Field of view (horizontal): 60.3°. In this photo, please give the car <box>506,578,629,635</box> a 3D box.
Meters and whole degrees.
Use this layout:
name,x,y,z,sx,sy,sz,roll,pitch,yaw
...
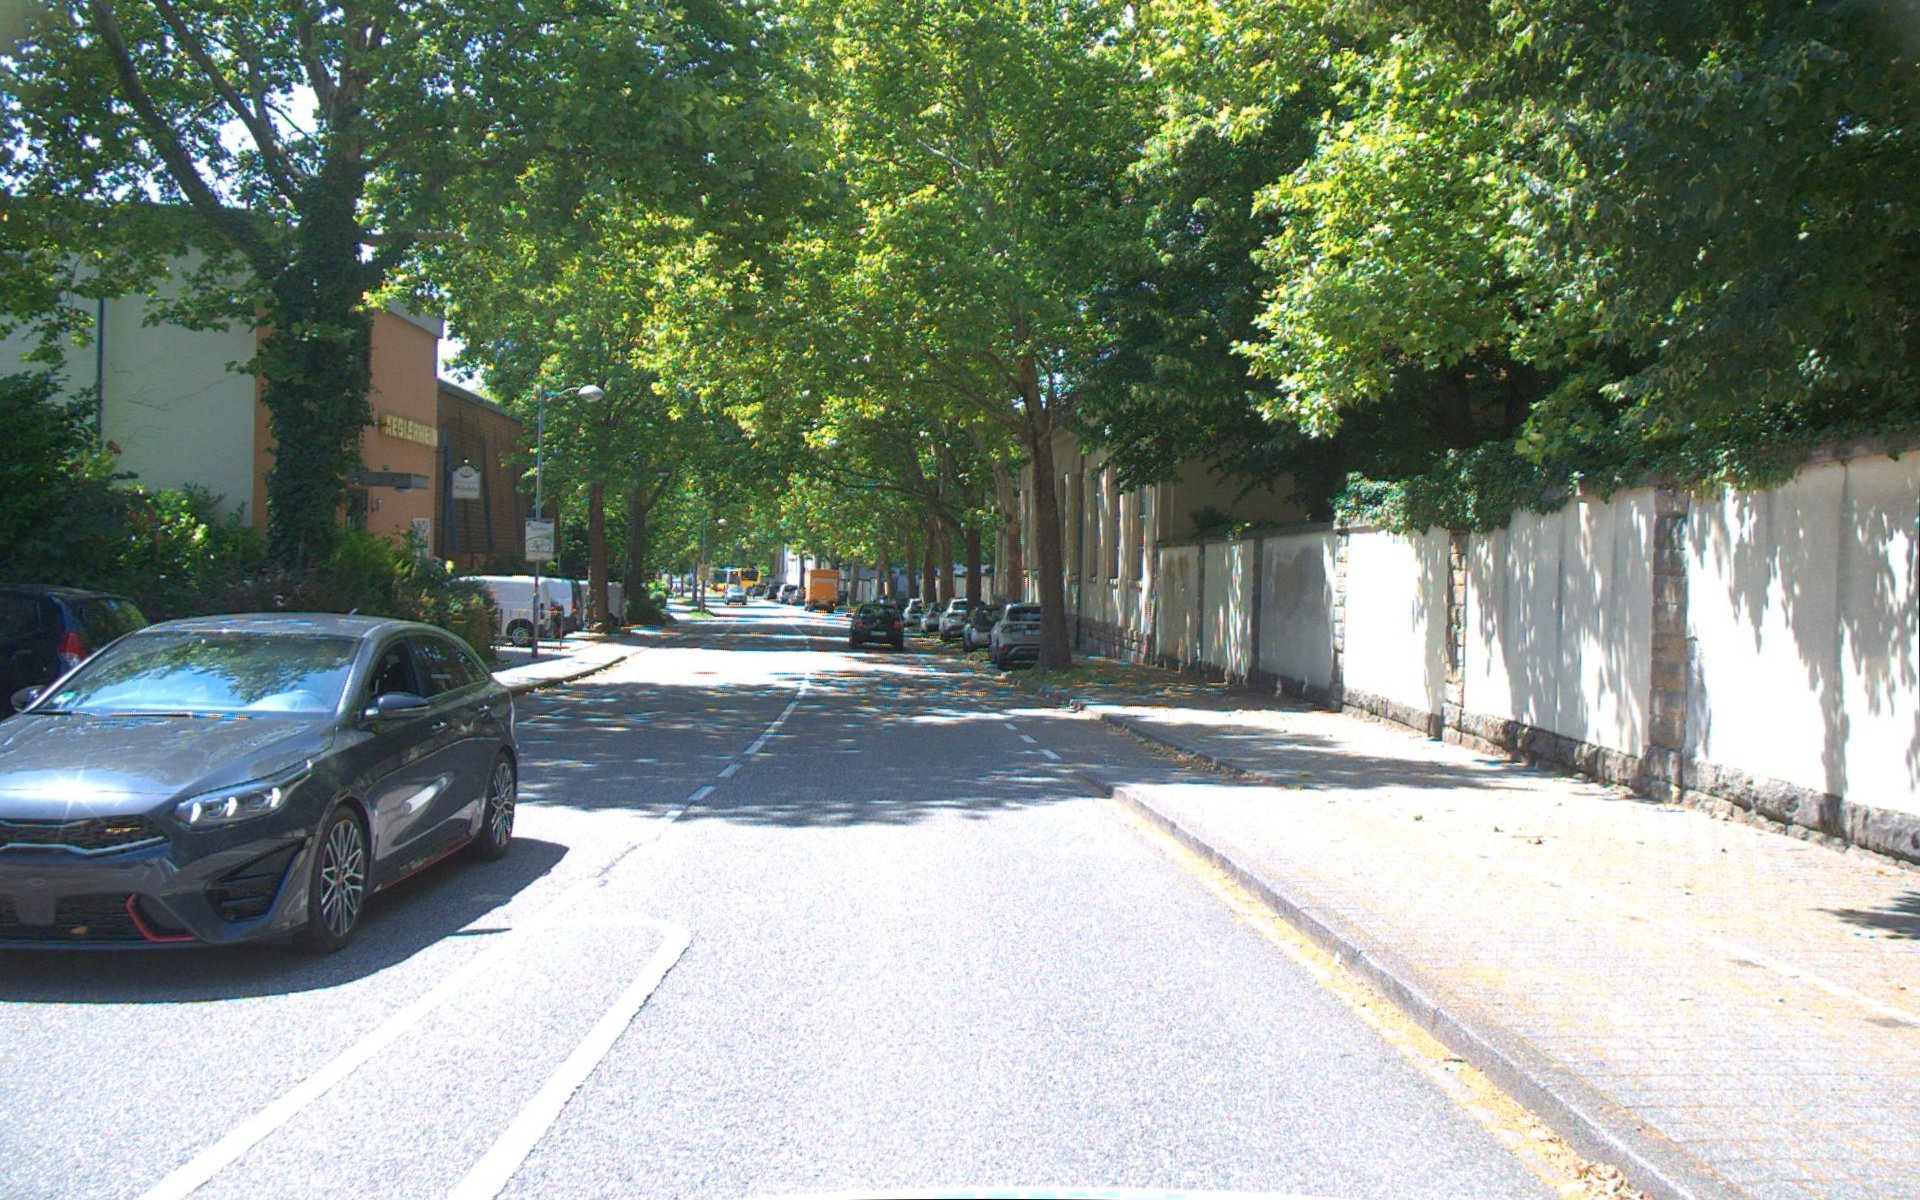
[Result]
name,x,y,z,sx,sy,sz,roll,pitch,yaw
car,-14.112,0.241,59.671,4.050,1.836,1.900,3,-1,-8

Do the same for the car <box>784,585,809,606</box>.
name,x,y,z,sx,sy,sz,roll,pitch,yaw
car,-14.637,-0.410,147.868,1.846,1.715,3.988,1,-1,-12

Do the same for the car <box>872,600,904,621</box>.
name,x,y,z,sx,sy,sz,roll,pitch,yaw
car,-4.903,0.697,111.791,1.734,1.398,3.722,0,0,-9

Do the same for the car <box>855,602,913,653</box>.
name,x,y,z,sx,sy,sz,roll,pitch,yaw
car,-2.476,0.845,53.367,1.677,1.472,4.054,1,1,-5

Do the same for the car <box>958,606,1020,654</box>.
name,x,y,z,sx,sy,sz,roll,pitch,yaw
car,0.890,0.923,52.893,1.589,1.465,4.429,0,0,-4

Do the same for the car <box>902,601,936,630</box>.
name,x,y,z,sx,sy,sz,roll,pitch,yaw
car,-2.256,0.810,89.517,1.547,1.491,3.870,0,0,-6

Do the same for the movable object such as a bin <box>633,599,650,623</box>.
name,x,y,z,sx,sy,sz,roll,pitch,yaw
movable object such as a bin,-14.997,0.522,77.920,0.720,1.097,0.700,1,0,-5

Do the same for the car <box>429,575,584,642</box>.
name,x,y,z,sx,sy,sz,roll,pitch,yaw
car,-14.101,0.272,51.620,4.340,1.836,1.900,3,-1,-8

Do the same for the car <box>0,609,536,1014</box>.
name,x,y,z,sx,sy,sz,roll,pitch,yaw
car,-3.494,0.782,8.207,1.733,1.451,4.391,1,0,-2

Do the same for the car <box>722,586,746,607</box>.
name,x,y,z,sx,sy,sz,roll,pitch,yaw
car,-19.558,-0.295,142.990,1.957,1.695,3.990,1,-1,-10

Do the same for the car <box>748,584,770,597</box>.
name,x,y,z,sx,sy,sz,roll,pitch,yaw
car,-21.467,-0.985,176.399,1.738,1.398,3.713,0,0,-17

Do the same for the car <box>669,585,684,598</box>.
name,x,y,z,sx,sy,sz,roll,pitch,yaw
car,-34.100,-1.015,199.016,1.680,1.473,4.046,1,0,-11

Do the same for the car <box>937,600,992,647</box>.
name,x,y,z,sx,sy,sz,roll,pitch,yaw
car,0.130,0.883,64.561,1.772,1.718,4.747,0,0,-4

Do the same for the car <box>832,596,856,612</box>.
name,x,y,z,sx,sy,sz,roll,pitch,yaw
car,-10.335,0.337,147.089,1.734,1.398,3.722,2,0,-9

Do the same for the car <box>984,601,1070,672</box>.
name,x,y,z,sx,sy,sz,roll,pitch,yaw
car,1.619,0.853,41.376,1.706,1.584,4.777,0,1,-3

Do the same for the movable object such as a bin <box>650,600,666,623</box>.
name,x,y,z,sx,sy,sz,roll,pitch,yaw
movable object such as a bin,-14.257,0.559,78.019,0.611,1.066,0.620,1,0,-1

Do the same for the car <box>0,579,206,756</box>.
name,x,y,z,sx,sy,sz,roll,pitch,yaw
car,-9.301,0.584,15.873,3.310,1.574,1.725,1,0,6

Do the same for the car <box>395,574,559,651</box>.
name,x,y,z,sx,sy,sz,roll,pitch,yaw
car,-12.957,0.330,44.573,3.912,1.824,1.865,3,-1,-8

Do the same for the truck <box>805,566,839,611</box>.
name,x,y,z,sx,sy,sz,roll,pitch,yaw
truck,-10.478,-0.818,125.028,2.325,3.189,5.760,1,-1,-7

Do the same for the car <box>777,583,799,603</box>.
name,x,y,z,sx,sy,sz,roll,pitch,yaw
car,-16.160,-0.623,155.166,1.845,1.715,3.991,1,-1,-9

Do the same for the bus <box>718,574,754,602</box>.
name,x,y,z,sx,sy,sz,roll,pitch,yaw
bus,-26.846,-1.436,197.813,2.621,3.206,11.145,1,0,-17

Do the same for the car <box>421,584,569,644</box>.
name,x,y,z,sx,sy,sz,roll,pitch,yaw
car,-13.737,0.418,49.033,3.912,1.542,1.865,3,-1,-8

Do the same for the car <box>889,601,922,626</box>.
name,x,y,z,sx,sy,sz,roll,pitch,yaw
car,-3.374,0.798,102.073,1.732,1.491,3.870,0,0,-6

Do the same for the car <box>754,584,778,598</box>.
name,x,y,z,sx,sy,sz,roll,pitch,yaw
car,-19.589,-0.877,167.136,1.739,1.398,3.712,0,0,-17

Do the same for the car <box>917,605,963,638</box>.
name,x,y,z,sx,sy,sz,roll,pitch,yaw
car,-0.927,0.951,75.105,1.732,1.458,3.870,0,0,-6
